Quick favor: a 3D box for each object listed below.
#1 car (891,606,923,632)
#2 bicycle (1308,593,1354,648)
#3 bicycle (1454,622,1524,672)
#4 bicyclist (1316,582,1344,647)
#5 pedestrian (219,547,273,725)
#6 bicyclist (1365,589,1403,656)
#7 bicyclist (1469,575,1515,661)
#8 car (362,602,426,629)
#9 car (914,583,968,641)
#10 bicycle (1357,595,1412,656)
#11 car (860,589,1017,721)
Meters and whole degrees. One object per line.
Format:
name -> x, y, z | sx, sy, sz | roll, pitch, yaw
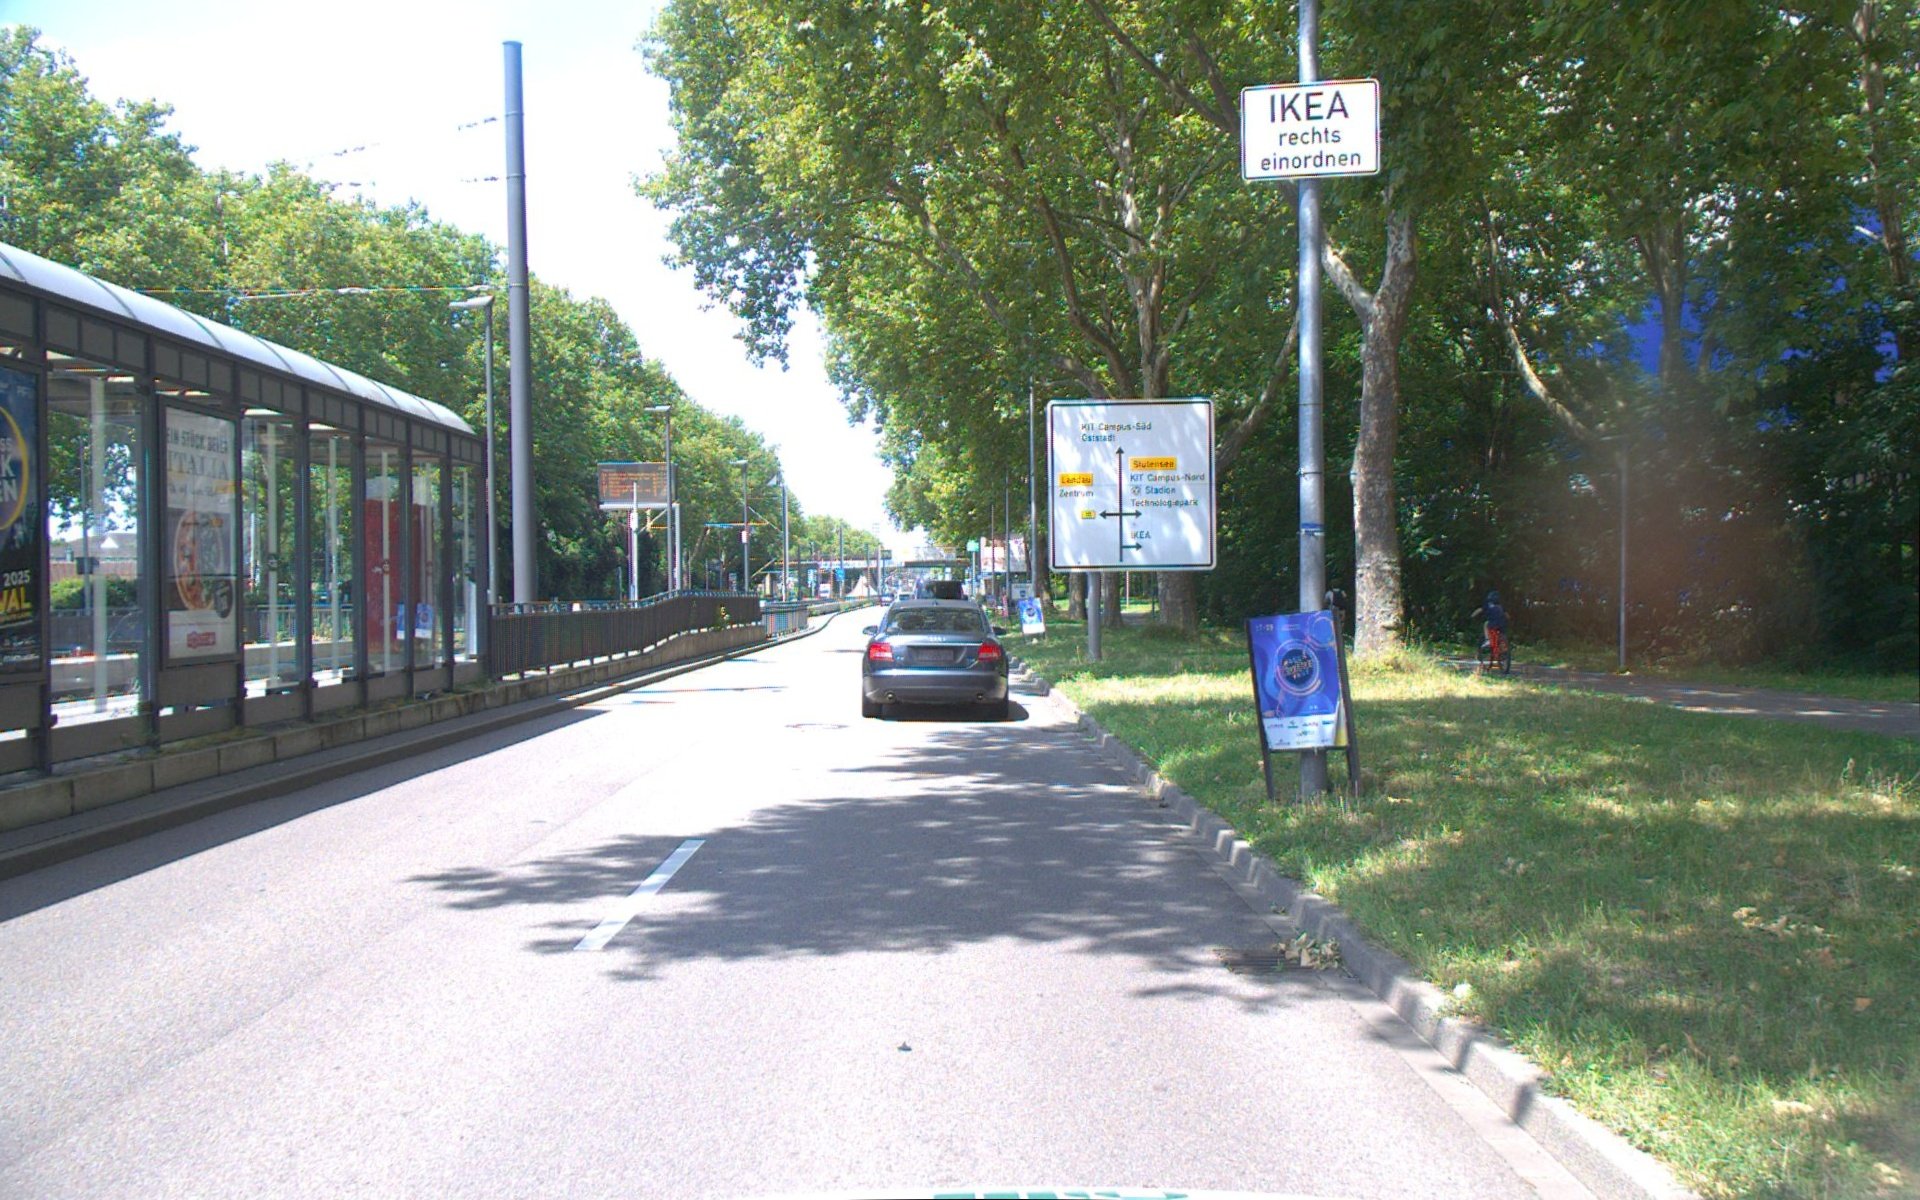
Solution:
car -> -3.204, 1.132, 99.337 | 1.809, 1.489, 3.998 | -1, 0, -3
bicycle -> 10.149, 0.540, 45.374 | 0.598, 1.444, 2.661 | -1, 0, -1
bicycle -> 10.167, 0.885, 31.850 | 0.632, 0.902, 2.022 | 0, 0, -2
bicyclist -> 10.165, 0.398, 45.466 | 0.585, 1.776, 0.843 | 0, 0, -1
pedestrian -> -6.267, 0.309, 14.519 | 0.412, 1.534, 0.393 | -1, 0, -25
bicyclist -> 10.373, 0.542, 40.457 | 0.645, 1.627, 1.053 | 0, 0, -1
bicyclist -> 10.202, 0.335, 31.742 | 0.610, 1.638, 0.816 | 0, 0, 0
car -> -32.123, 0.854, 93.933 | 3.258, 1.501, 1.649 | 0, 0, -12
car -> -0.647, 0.407, 59.709 | 1.810, 1.994, 4.145 | 1, 0, 1
bicycle -> 10.363, 0.596, 40.441 | 0.598, 1.444, 2.661 | -1, 0, -1
car -> -0.327, 0.688, 21.236 | 1.805, 1.510, 3.997 | 1, -1, -2
